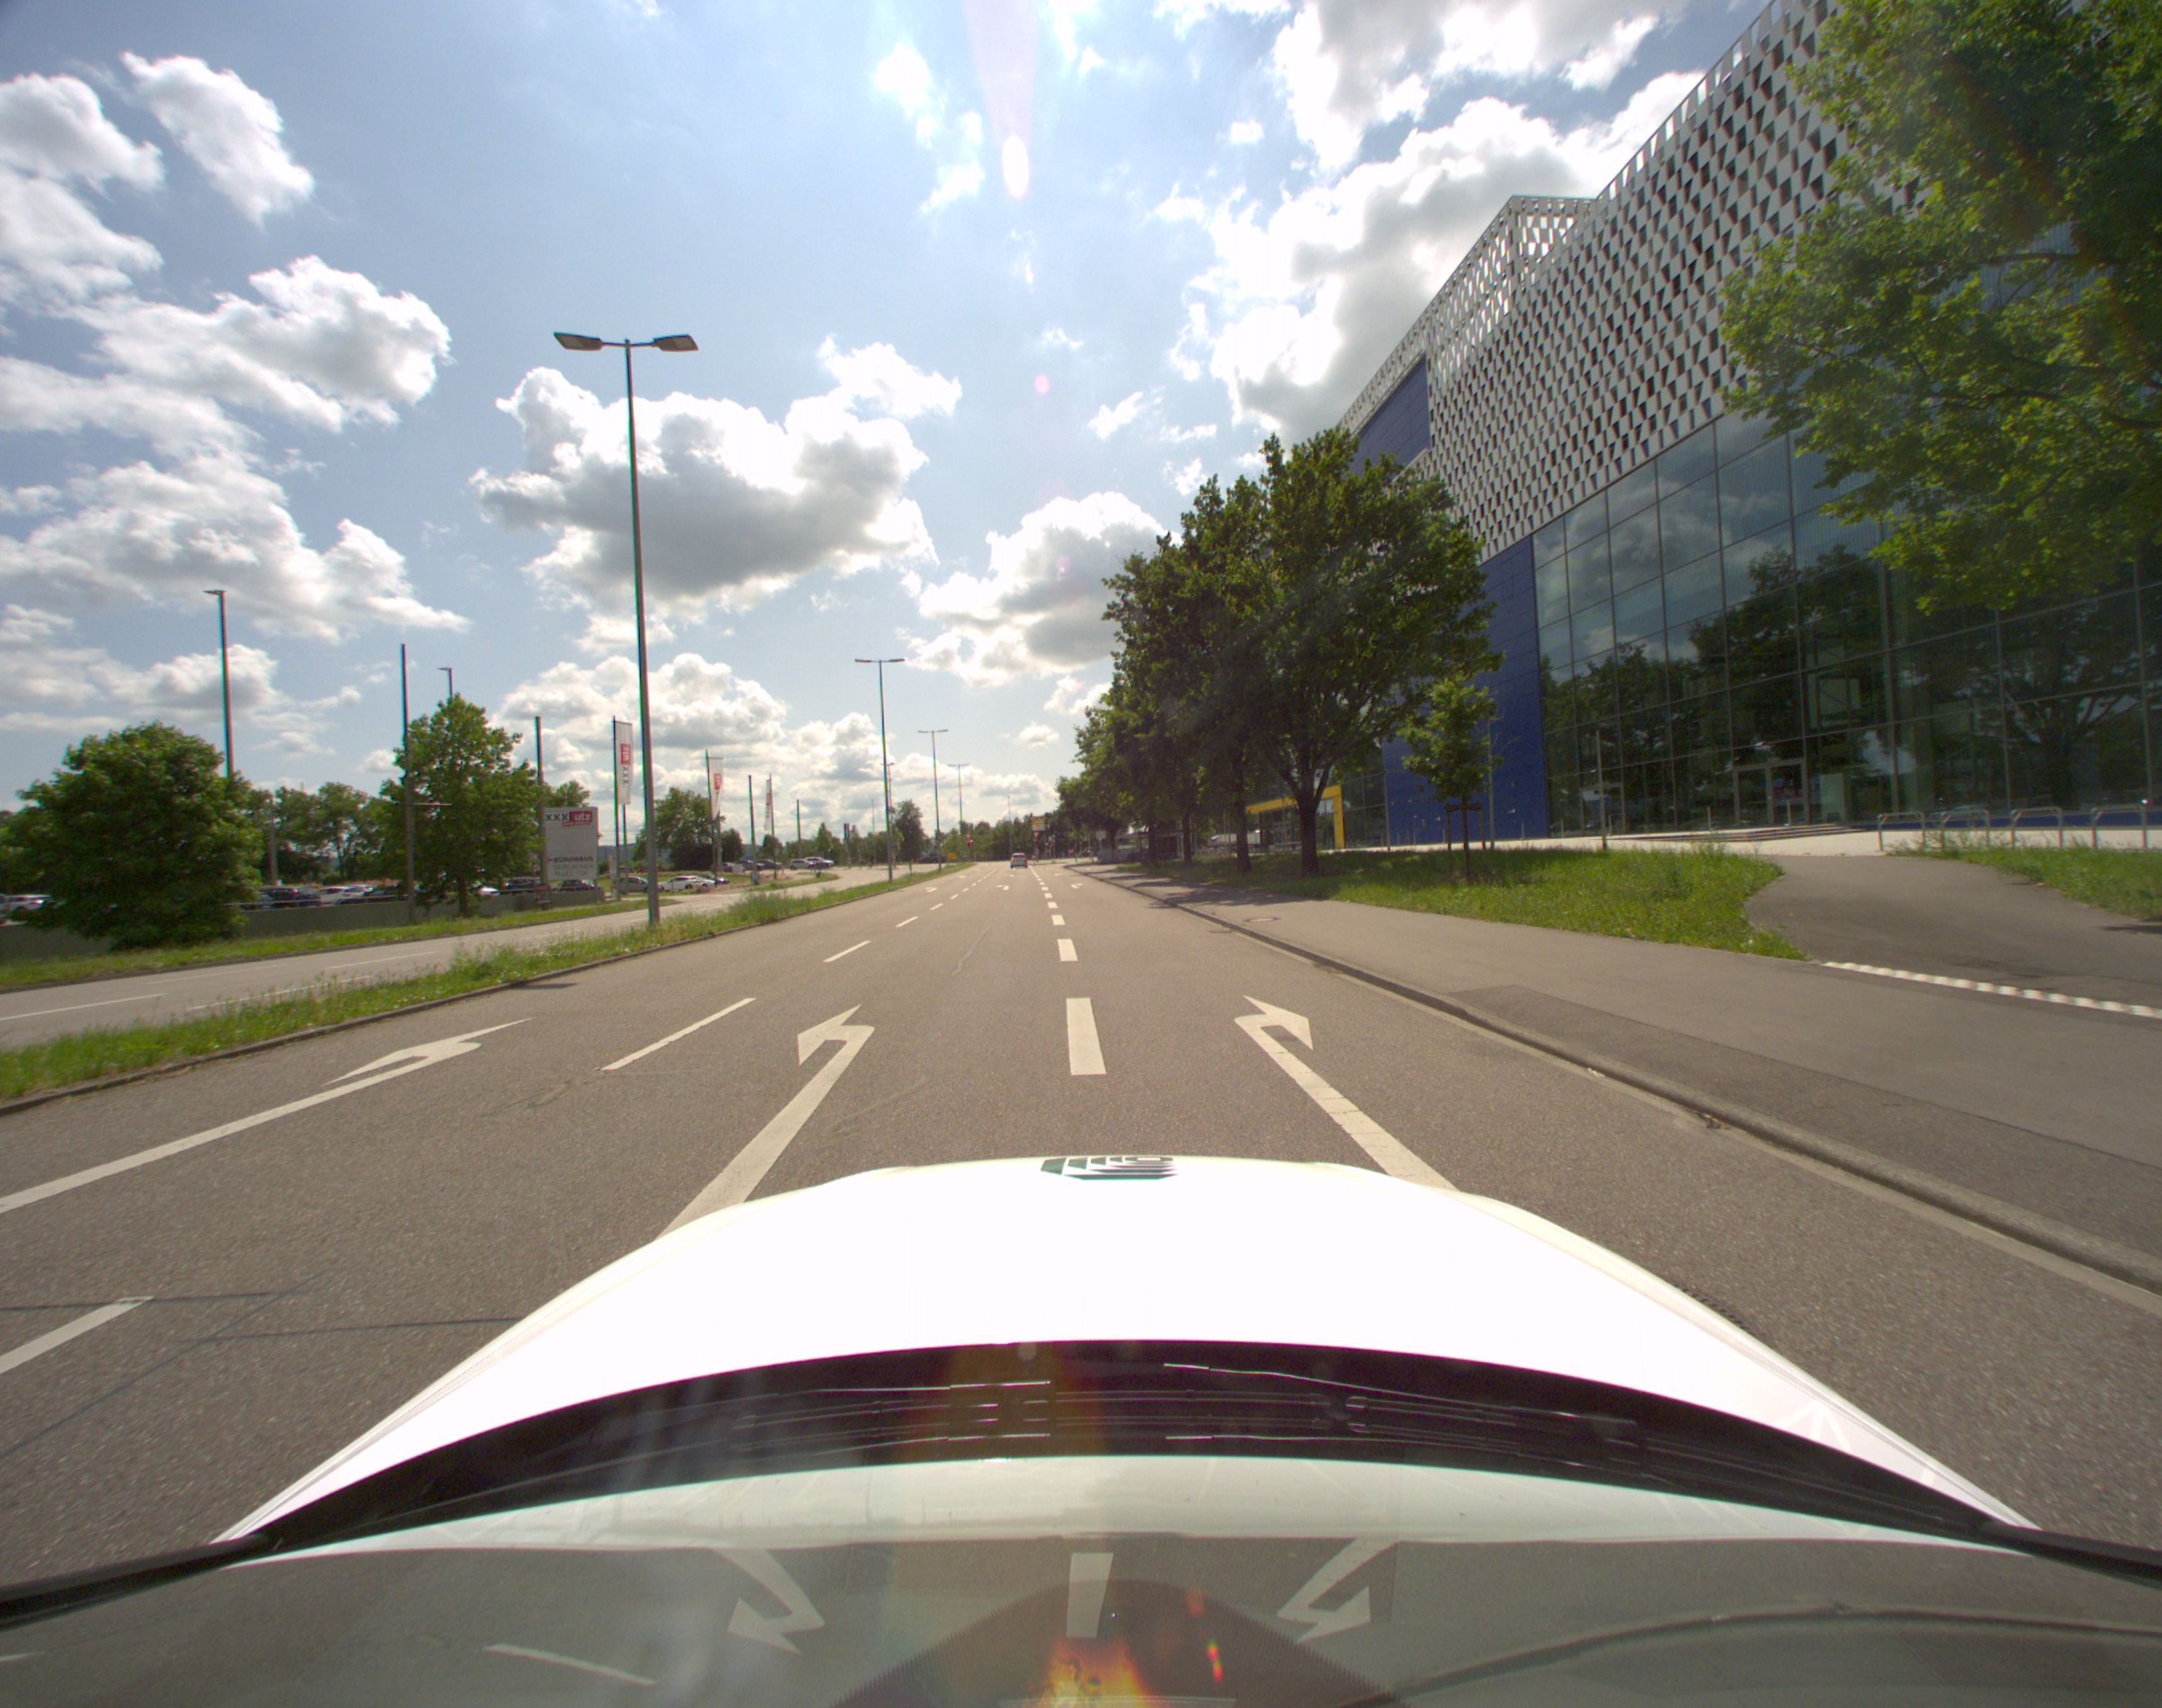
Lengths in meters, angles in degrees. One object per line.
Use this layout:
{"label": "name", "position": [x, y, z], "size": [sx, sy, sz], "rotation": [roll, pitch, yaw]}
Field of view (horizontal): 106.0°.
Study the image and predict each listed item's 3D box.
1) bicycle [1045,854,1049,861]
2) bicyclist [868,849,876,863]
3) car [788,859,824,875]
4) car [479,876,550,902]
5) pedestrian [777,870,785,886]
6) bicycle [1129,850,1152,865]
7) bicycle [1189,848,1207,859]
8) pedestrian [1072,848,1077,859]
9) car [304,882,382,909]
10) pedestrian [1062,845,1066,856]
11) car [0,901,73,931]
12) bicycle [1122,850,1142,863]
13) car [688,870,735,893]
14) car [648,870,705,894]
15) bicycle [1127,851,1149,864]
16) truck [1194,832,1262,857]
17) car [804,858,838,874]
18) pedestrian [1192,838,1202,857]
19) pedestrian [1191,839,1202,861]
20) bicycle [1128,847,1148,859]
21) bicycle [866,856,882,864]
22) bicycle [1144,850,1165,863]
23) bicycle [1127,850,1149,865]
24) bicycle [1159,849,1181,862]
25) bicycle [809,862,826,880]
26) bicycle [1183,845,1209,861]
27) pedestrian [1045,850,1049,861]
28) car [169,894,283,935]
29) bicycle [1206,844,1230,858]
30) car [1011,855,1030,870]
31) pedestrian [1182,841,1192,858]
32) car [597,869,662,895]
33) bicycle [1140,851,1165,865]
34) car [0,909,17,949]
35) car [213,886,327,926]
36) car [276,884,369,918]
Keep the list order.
{"label": "bicycle", "position": [-5.618, 0.542, 134.398], "size": [0.617, 1.087, 1.721], "rotation": [-3, 0, -2]}
{"label": "bicyclist", "position": [-28.068, 0.229, 109.438], "size": [0.919, 1.846, 0.610], "rotation": [-2, 0, -5]}
{"label": "car", "position": [-38.970, 1.859, 115.624], "size": [4.342, 1.989, 1.996], "rotation": [-3, 0, -6]}
{"label": "car", "position": [-48.633, 2.984, 70.000], "size": [4.575, 1.989, 1.996], "rotation": [-2, -1, -6]}
{"label": "pedestrian", "position": [-36.702, 2.936, 99.632], "size": [0.870, 1.837, 0.790], "rotation": [0, -1, -33]}
{"label": "bicycle", "position": [5.176, 0.296, 70.580], "size": [1.892, 1.170, 0.423], "rotation": [-4, 0, -4]}
{"label": "bicycle", "position": [12.407, -0.032, 86.403], "size": [1.858, 0.994, 0.423], "rotation": [-4, 0, -3]}
{"label": "pedestrian", "position": [-1.102, -0.073, 133.072], "size": [0.674, 1.748, 0.636], "rotation": [-2, 2, -2]}
{"label": "car", "position": [-64.207, 3.610, 70.901], "size": [4.606, 1.989, 1.996], "rotation": [-3, 0, -7]}
{"label": "pedestrian", "position": [-2.628, -0.521, 128.490], "size": [0.521, 1.721, 0.730], "rotation": [-3, 0, -1]}
{"label": "car", "position": [-78.520, 4.641, 60.644], "size": [4.064, 1.989, 1.998], "rotation": [-3, 0, -4]}
{"label": "bicycle", "position": [4.854, 0.233, 77.728], "size": [1.861, 1.187, 0.422], "rotation": [-4, 0, -10]}
{"label": "car", "position": [-37.471, 2.762, 82.626], "size": [3.994, 2.013, 1.990], "rotation": [-3, 0, -15]}
{"label": "car", "position": [-38.776, 2.668, 78.107], "size": [4.342, 1.989, 1.996], "rotation": [-3, 0, -6]}
{"label": "bicycle", "position": [5.187, 0.322, 74.268], "size": [1.862, 0.994, 0.422], "rotation": [-4, 0, -10]}
{"label": "truck", "position": [27.150, -1.714, 150.758], "size": [11.936, 4.104, 2.948], "rotation": [-3, 0, -5]}
{"label": "car", "position": [-37.843, 1.758, 118.634], "size": [4.342, 1.989, 1.996], "rotation": [-3, 0, -6]}
{"label": "pedestrian", "position": [13.457, -0.727, 94.248], "size": [1.001, 2.072, 0.977], "rotation": [-3, -1, 10]}
{"label": "pedestrian", "position": [9.432, -0.351, 66.503], "size": [0.627, 1.721, 0.528], "rotation": [-5, -2, 31]}
{"label": "bicycle", "position": [5.697, -0.084, 80.784], "size": [1.862, 0.994, 0.422], "rotation": [-4, -1, -10]}
{"label": "bicycle", "position": [-27.842, 0.797, 109.464], "size": [2.013, 0.999, 0.621], "rotation": [-1, -1, -5]}
{"label": "bicycle", "position": [6.946, 0.239, 76.815], "size": [1.858, 1.034, 0.423], "rotation": [-4, 0, -4]}
{"label": "bicycle", "position": [5.086, 0.286, 72.805], "size": [1.862, 1.187, 0.422], "rotation": [-4, 0, -10]}
{"label": "bicycle", "position": [7.749, 0.164, 70.982], "size": [1.862, 0.994, 0.422], "rotation": [-5, -1, -10]}
{"label": "bicycle", "position": [-26.292, 1.716, 81.311], "size": [1.015, 1.675, 2.046], "rotation": [-3, 0, -4]}
{"label": "bicycle", "position": [9.305, -0.055, 66.056], "size": [1.988, 1.108, 0.581], "rotation": [-5, -1, 33]}
{"label": "pedestrian", "position": [-5.629, 0.188, 134.363], "size": [0.609, 1.769, 0.671], "rotation": [-3, 0, -3]}
{"label": "car", "position": [-47.302, 3.301, 45.140], "size": [4.066, 1.989, 1.839], "rotation": [-2, -1, -6]}
{"label": "bicycle", "position": [12.963, -0.286, 76.910], "size": [2.129, 1.229, 0.722], "rotation": [-4, 0, 5]}
{"label": "car", "position": [-6.298, 0.910, 84.443], "size": [1.890, 1.470, 3.828], "rotation": [-1, -1, -4]}
{"label": "pedestrian", "position": [12.261, -0.550, 93.921], "size": [1.001, 1.902, 0.976], "rotation": [-3, -2, 9]}
{"label": "car", "position": [-39.114, 2.425, 70.647], "size": [4.342, 1.989, 1.996], "rotation": [-3, 0, -6]}
{"label": "bicycle", "position": [5.860, 0.323, 66.703], "size": [1.862, 0.994, 0.422], "rotation": [-5, 0, -10]}
{"label": "car", "position": [-52.100, 3.600, 37.138], "size": [4.342, 1.830, 1.774], "rotation": [-3, 0, -6]}
{"label": "car", "position": [-47.292, 3.008, 47.573], "size": [4.342, 1.989, 1.996], "rotation": [-2, 0, -6]}
{"label": "car", "position": [-53.039, 3.268, 57.032], "size": [4.342, 1.989, 1.996], "rotation": [-3, 0, -6]}
